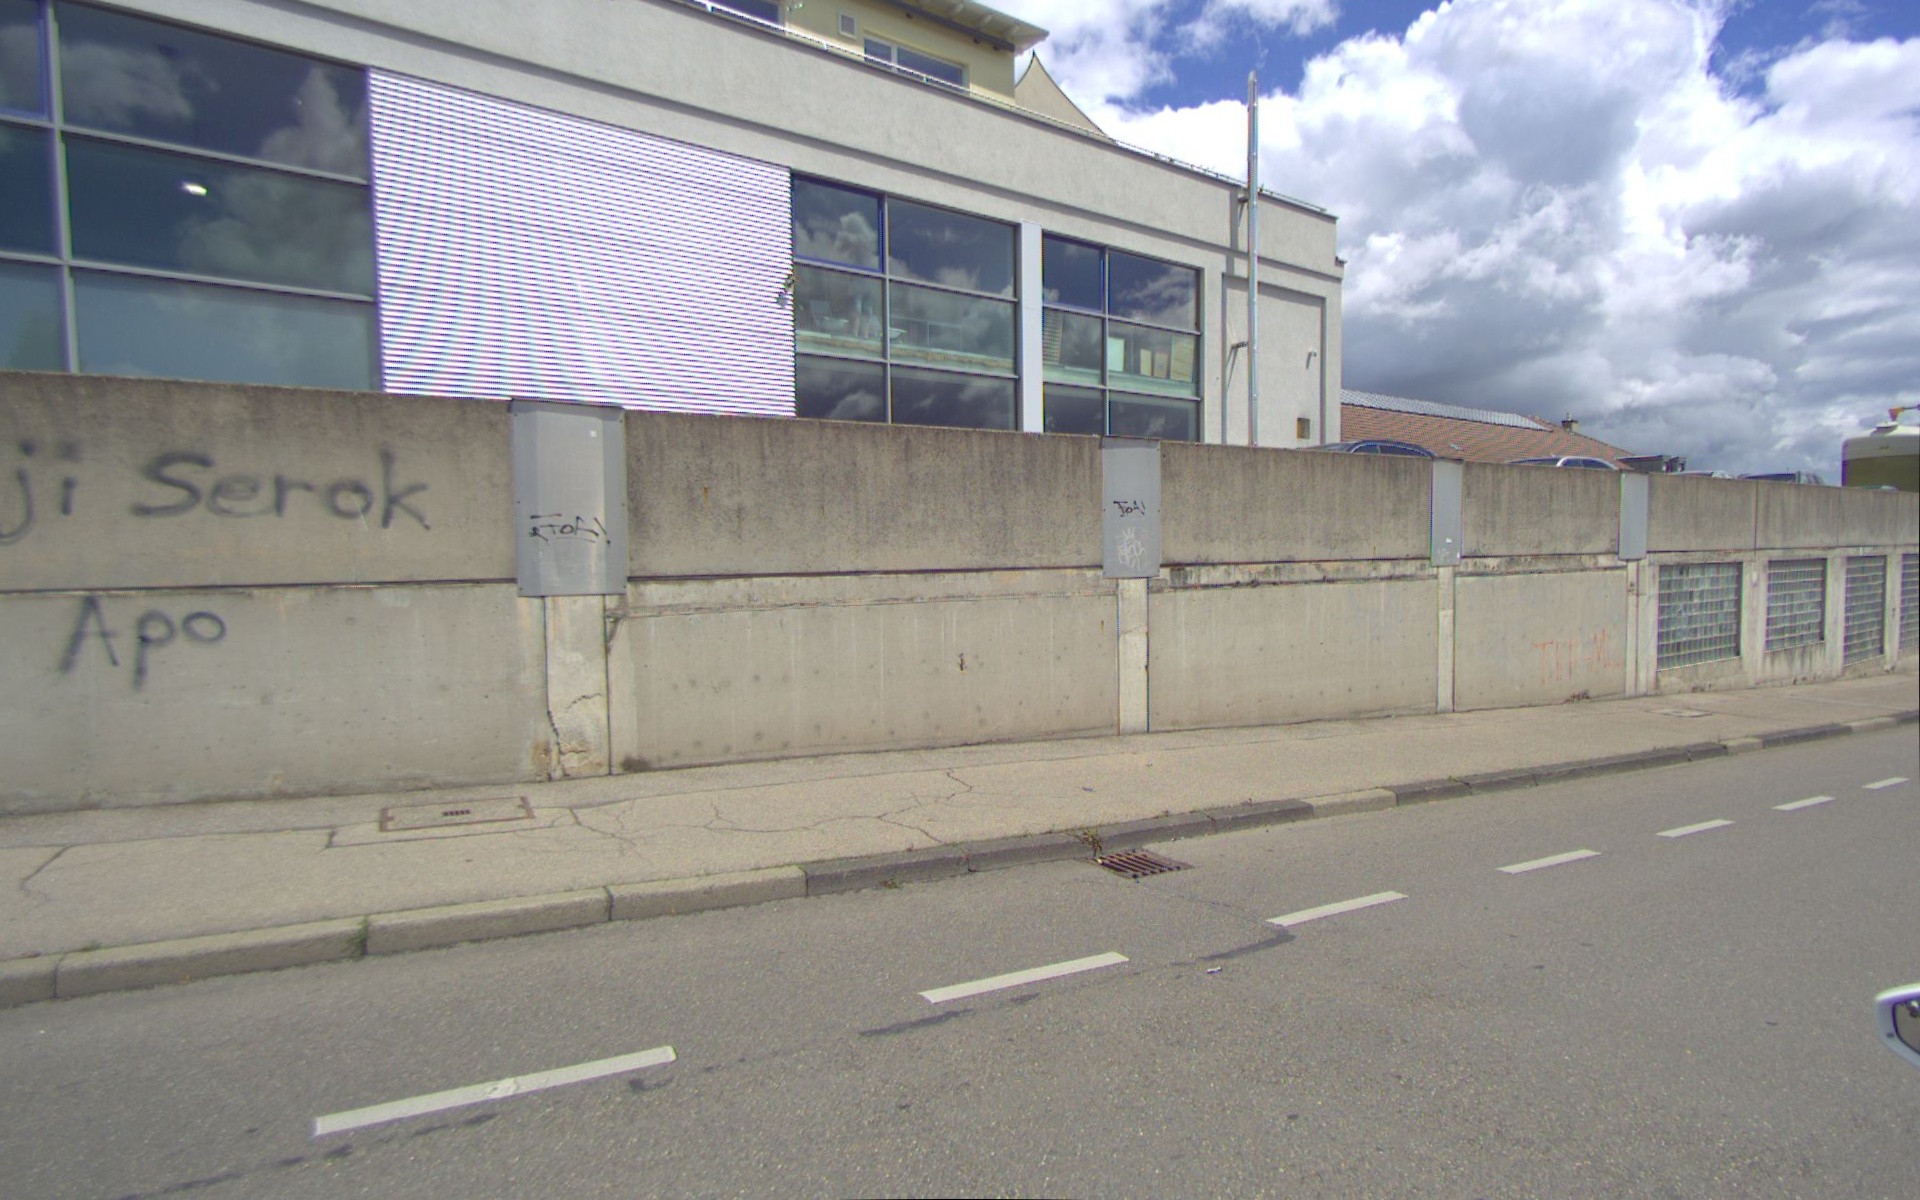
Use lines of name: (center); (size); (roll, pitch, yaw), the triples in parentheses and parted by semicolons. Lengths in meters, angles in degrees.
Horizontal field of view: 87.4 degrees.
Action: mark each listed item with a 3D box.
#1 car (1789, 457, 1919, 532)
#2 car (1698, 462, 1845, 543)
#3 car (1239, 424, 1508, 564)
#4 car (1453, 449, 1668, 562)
car: (24.753, -2.843, 27.762); (4.064, 1.658, 1.794); (1, 1, -35)
car: (20.365, -2.364, 25.164); (4.064, 1.658, 1.794); (1, 1, -35)
car: (6.227, -1.450, 14.984); (4.064, 1.658, 1.794); (1, 1, -35)
car: (10.794, -1.582, 17.980); (4.064, 1.658, 1.794); (1, 1, -35)
